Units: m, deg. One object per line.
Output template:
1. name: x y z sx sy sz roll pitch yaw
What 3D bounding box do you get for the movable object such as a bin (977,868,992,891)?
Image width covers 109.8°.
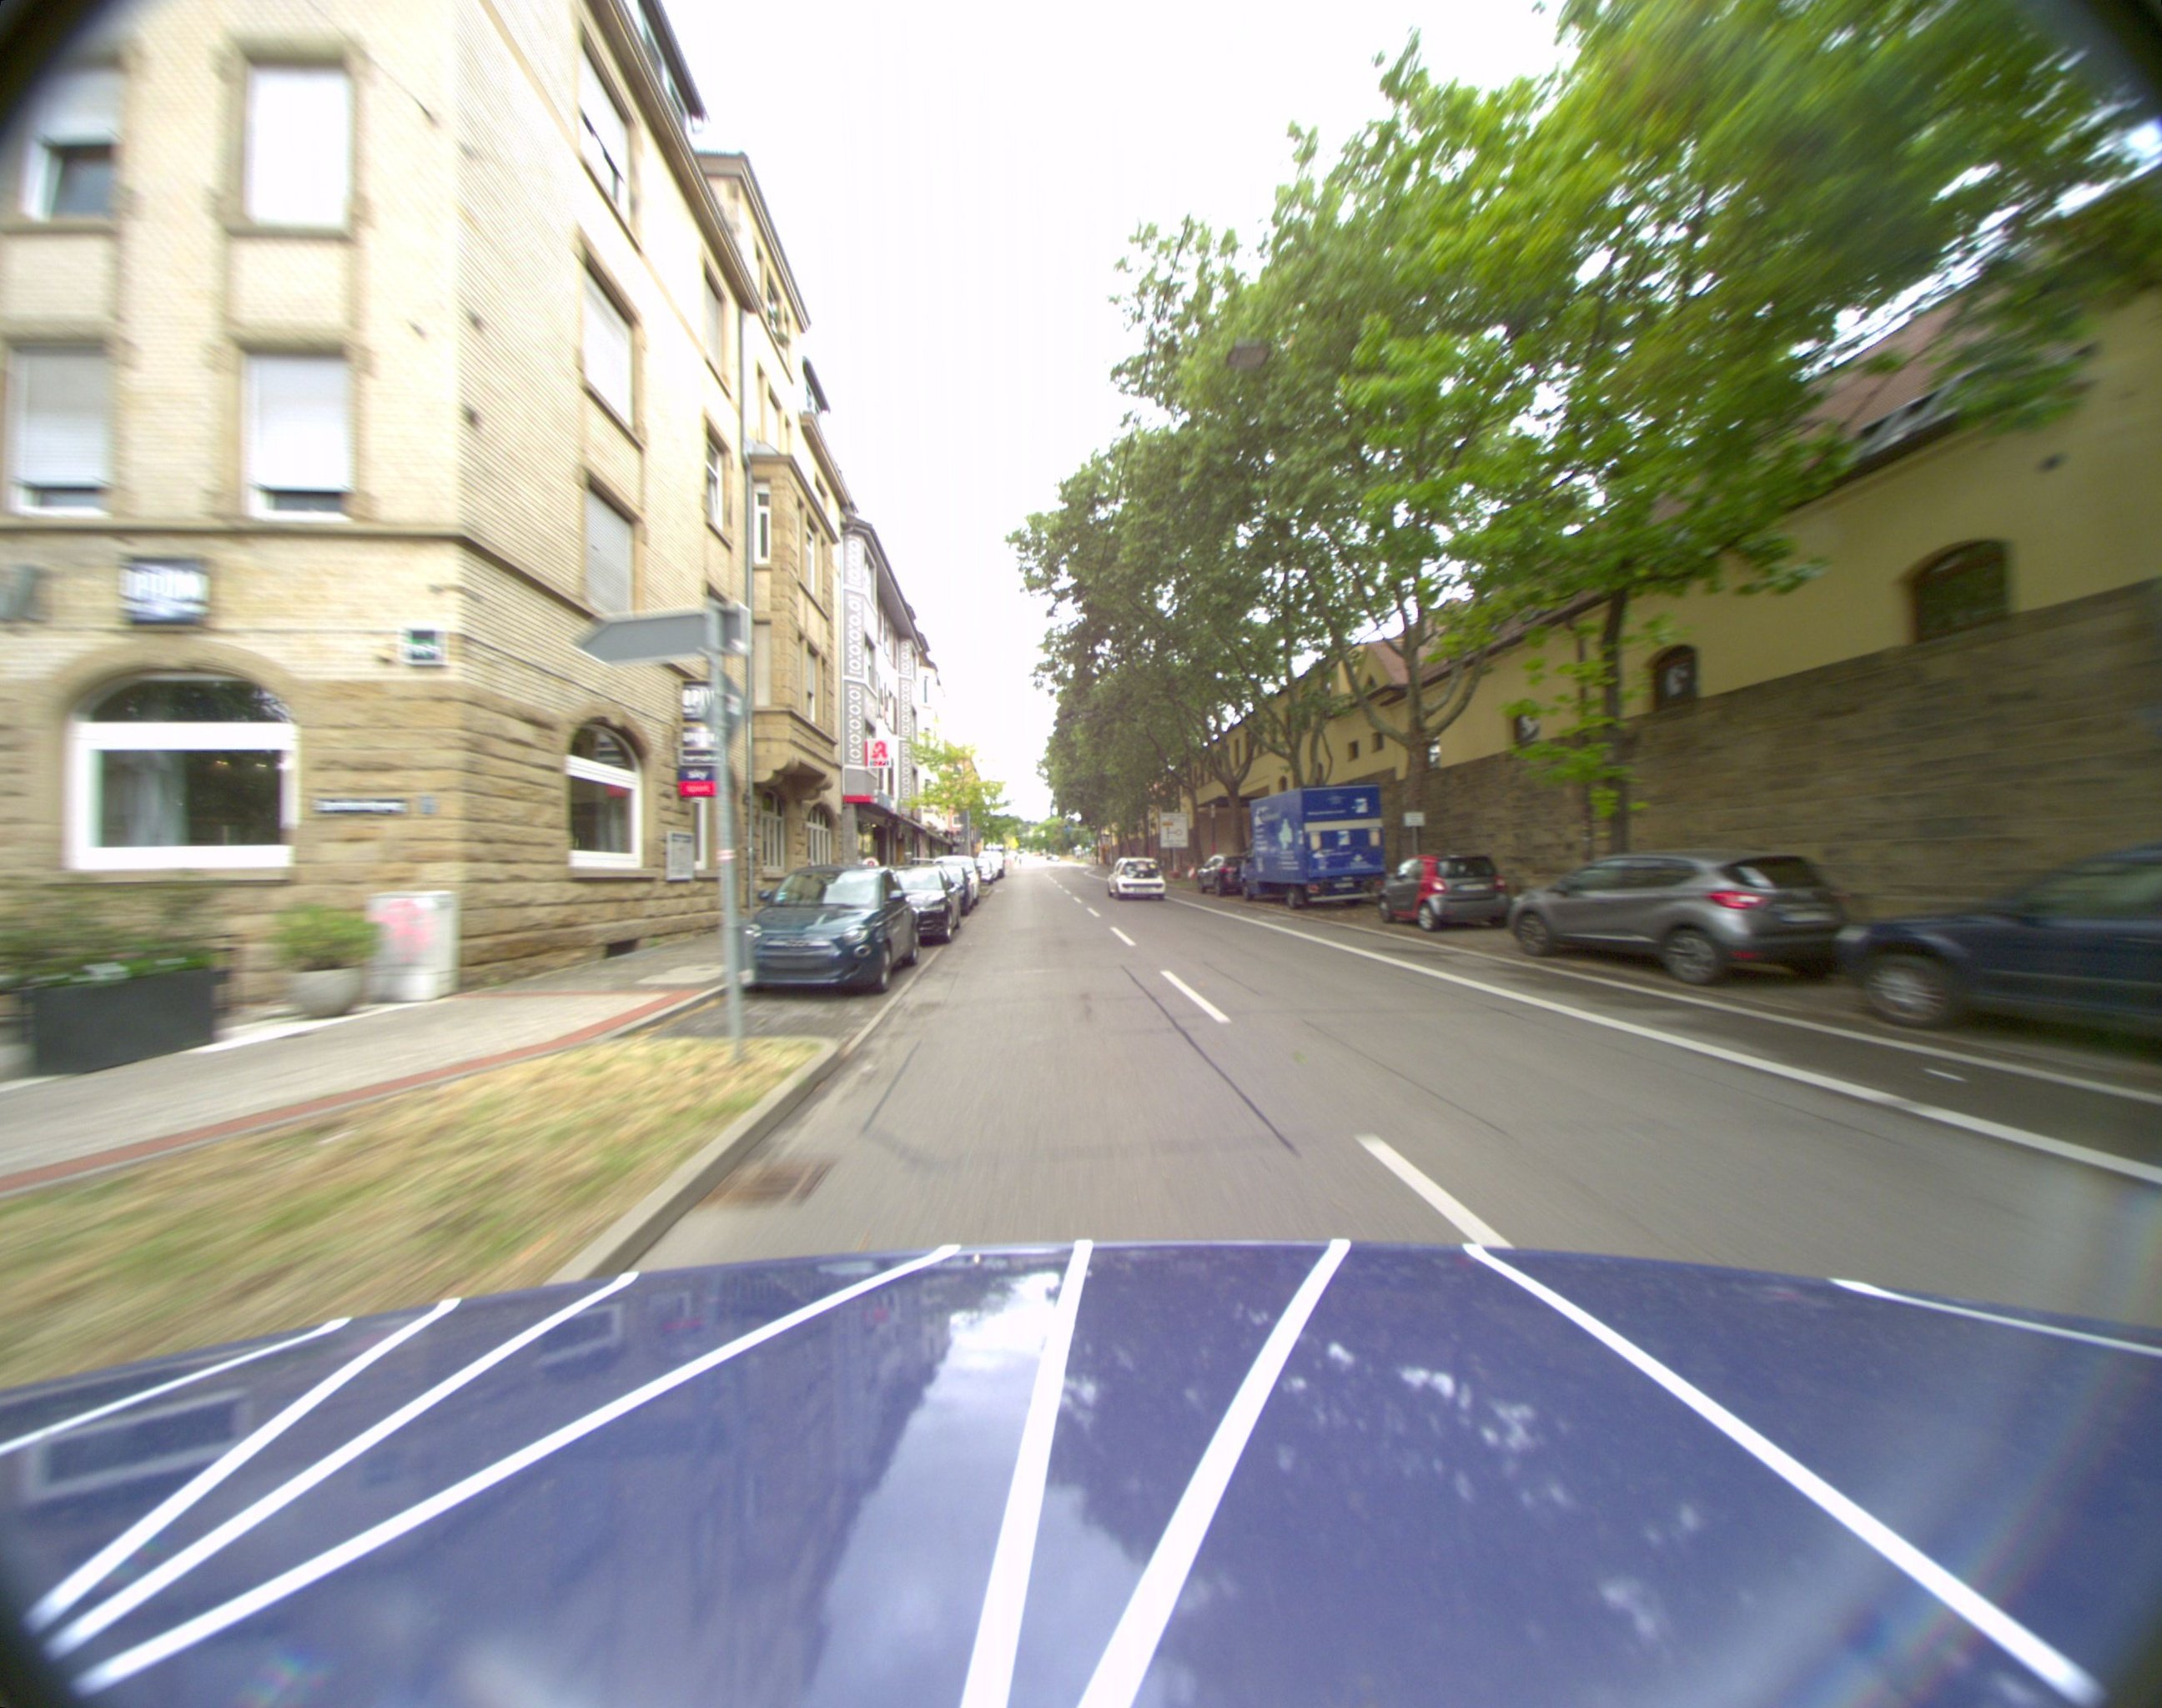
1. movable object such as a bin: -4.401 1.161 34.713 0.624 1.018 0.696 -1 0 -12

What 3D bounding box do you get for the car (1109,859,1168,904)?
1. car: 1.990 0.923 27.155 1.587 1.455 3.650 1 0 -4

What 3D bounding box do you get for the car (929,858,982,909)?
1. car: -4.373 0.971 26.987 1.684 1.653 4.541 0 0 -7

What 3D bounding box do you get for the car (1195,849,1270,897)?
1. car: 5.930 0.692 30.212 1.736 1.679 4.250 -3 1 -5

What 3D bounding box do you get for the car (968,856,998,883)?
1. car: -5.717 0.890 44.537 1.486 1.525 3.521 0 0 -3

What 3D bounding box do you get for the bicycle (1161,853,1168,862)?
1. bicycle: 7.928 0.355 72.586 0.336 0.841 1.775 -2 0 -4

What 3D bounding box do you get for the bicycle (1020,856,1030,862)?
1. bicycle: -8.541 0.789 115.918 1.716 0.986 0.369 0 1 43

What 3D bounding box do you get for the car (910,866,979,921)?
1. car: -3.916 1.074 22.332 1.610 1.389 4.274 1 0 -5

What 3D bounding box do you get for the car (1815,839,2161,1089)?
1. car: 8.017 0.736 5.297 1.513 1.622 4.112 -3 1 -7

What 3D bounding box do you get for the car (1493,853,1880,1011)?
1. car: 7.665 0.832 10.229 1.599 1.564 4.084 -3 1 -7

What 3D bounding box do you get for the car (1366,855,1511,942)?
1. car: 7.432 0.850 16.081 1.484 1.564 2.991 -3 1 -2

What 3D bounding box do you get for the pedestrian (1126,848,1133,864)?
1. pedestrian: 5.696 0.187 89.293 0.673 1.865 0.816 -1 1 -3

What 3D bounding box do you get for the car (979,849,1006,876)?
1. car: -6.689 0.622 56.992 1.912 1.919 4.917 0 0 -7

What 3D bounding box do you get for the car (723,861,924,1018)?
1. car: -3.123 0.926 9.942 1.569 1.601 3.652 -1 0 -4

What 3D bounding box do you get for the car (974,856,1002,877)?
1. car: -6.251 0.830 51.572 1.688 1.407 4.040 0 0 -4

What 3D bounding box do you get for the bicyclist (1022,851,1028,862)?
1. bicyclist: -8.544 0.383 115.927 0.748 1.619 0.683 0 1 43

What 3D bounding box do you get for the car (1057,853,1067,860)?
1. car: -4.569 0.573 183.114 1.920 1.640 3.633 -3 1 3

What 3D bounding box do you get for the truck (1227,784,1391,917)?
1. truck: 6.718 -0.113 23.648 2.221 3.396 7.243 -3 0 -5

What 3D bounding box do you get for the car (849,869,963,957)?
1. car: -3.449 1.083 15.779 1.744 1.454 4.772 0 0 -6
